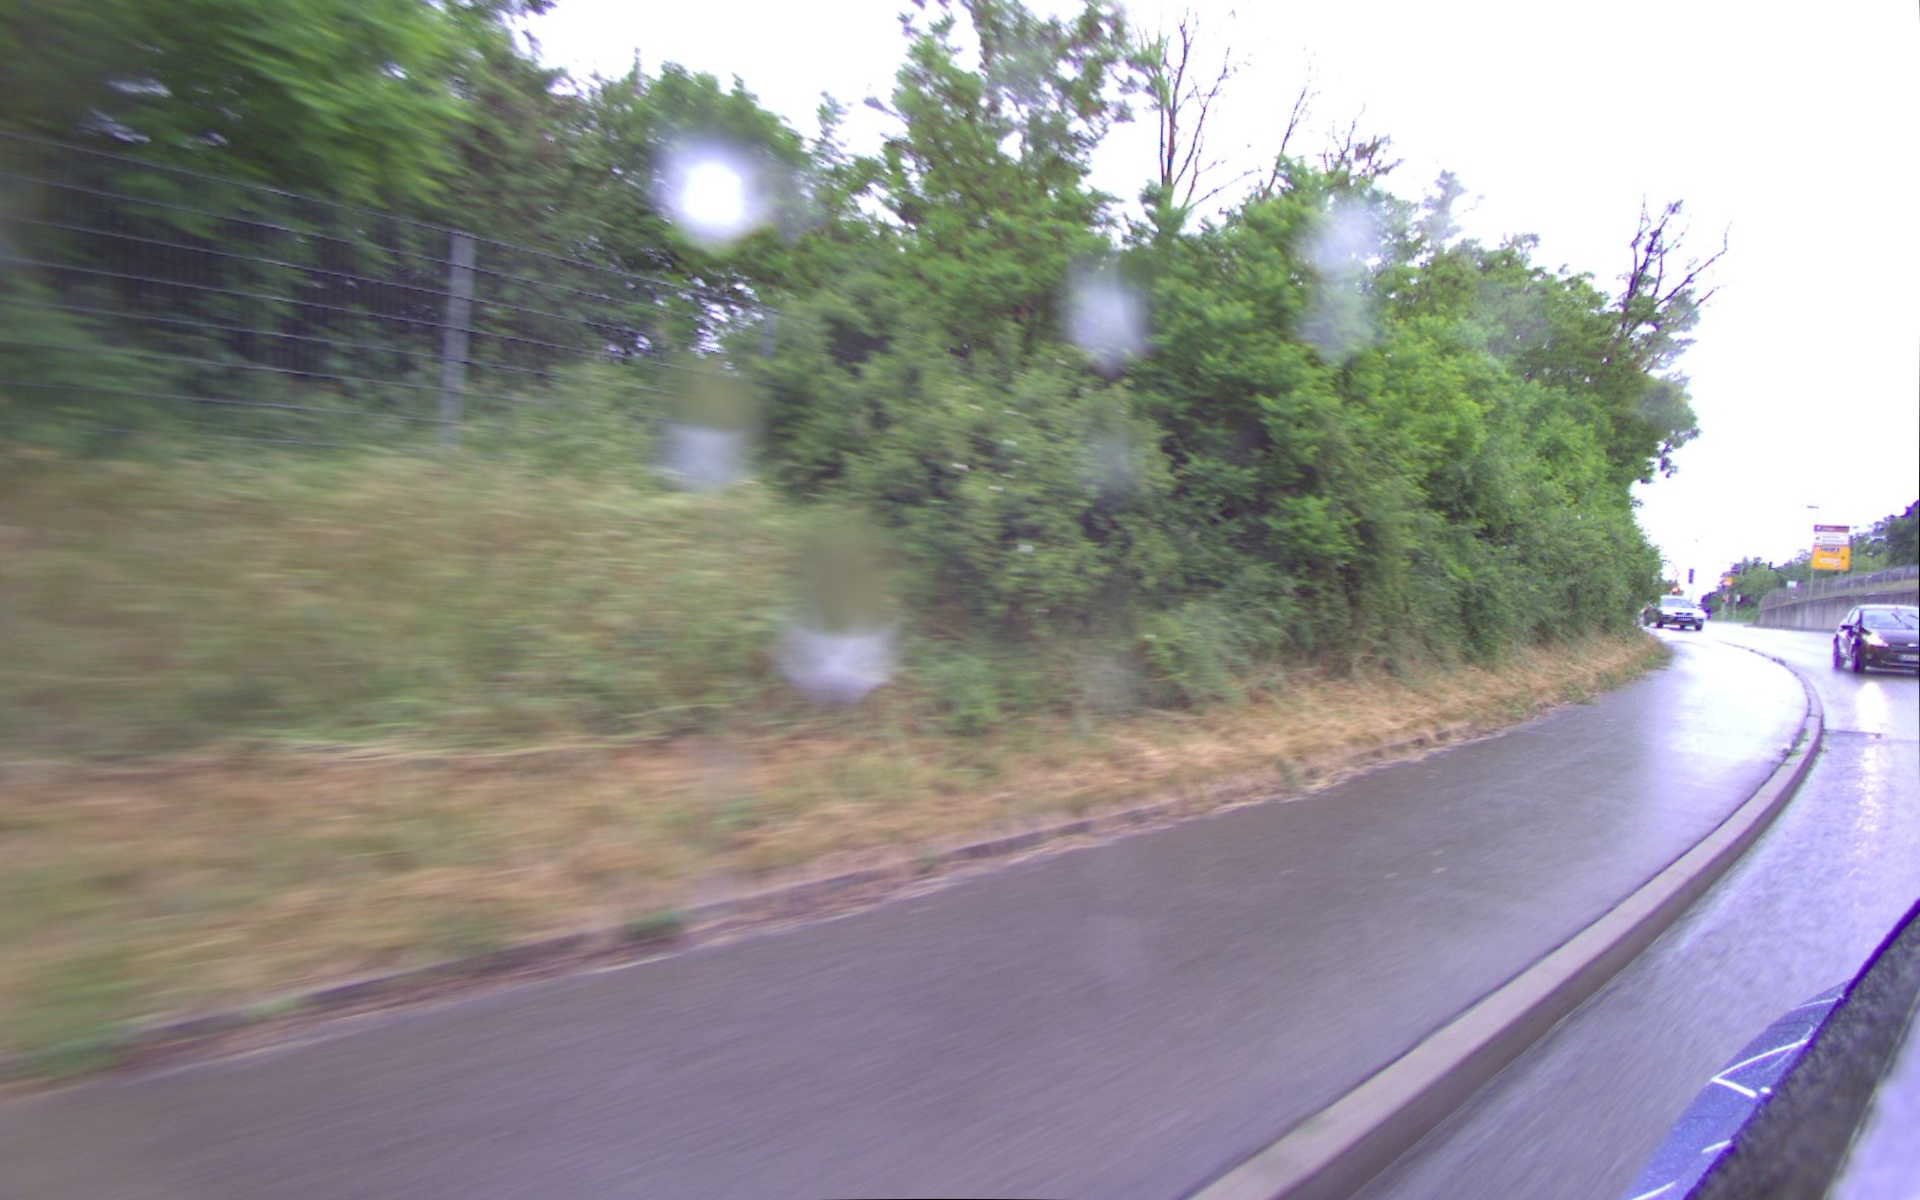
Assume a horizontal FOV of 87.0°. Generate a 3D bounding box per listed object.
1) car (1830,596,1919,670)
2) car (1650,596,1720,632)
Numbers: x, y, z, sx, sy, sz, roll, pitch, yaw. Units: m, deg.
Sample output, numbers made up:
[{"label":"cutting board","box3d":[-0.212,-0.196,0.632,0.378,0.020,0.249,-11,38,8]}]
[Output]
[{"label":"car","box3d":[20.735,0.678,22.289,1.863,1.459,4.324,2,1,34]},{"label":"car","box3d":[34.042,0.601,47.635,1.858,1.458,4.338,5,3,26]}]
